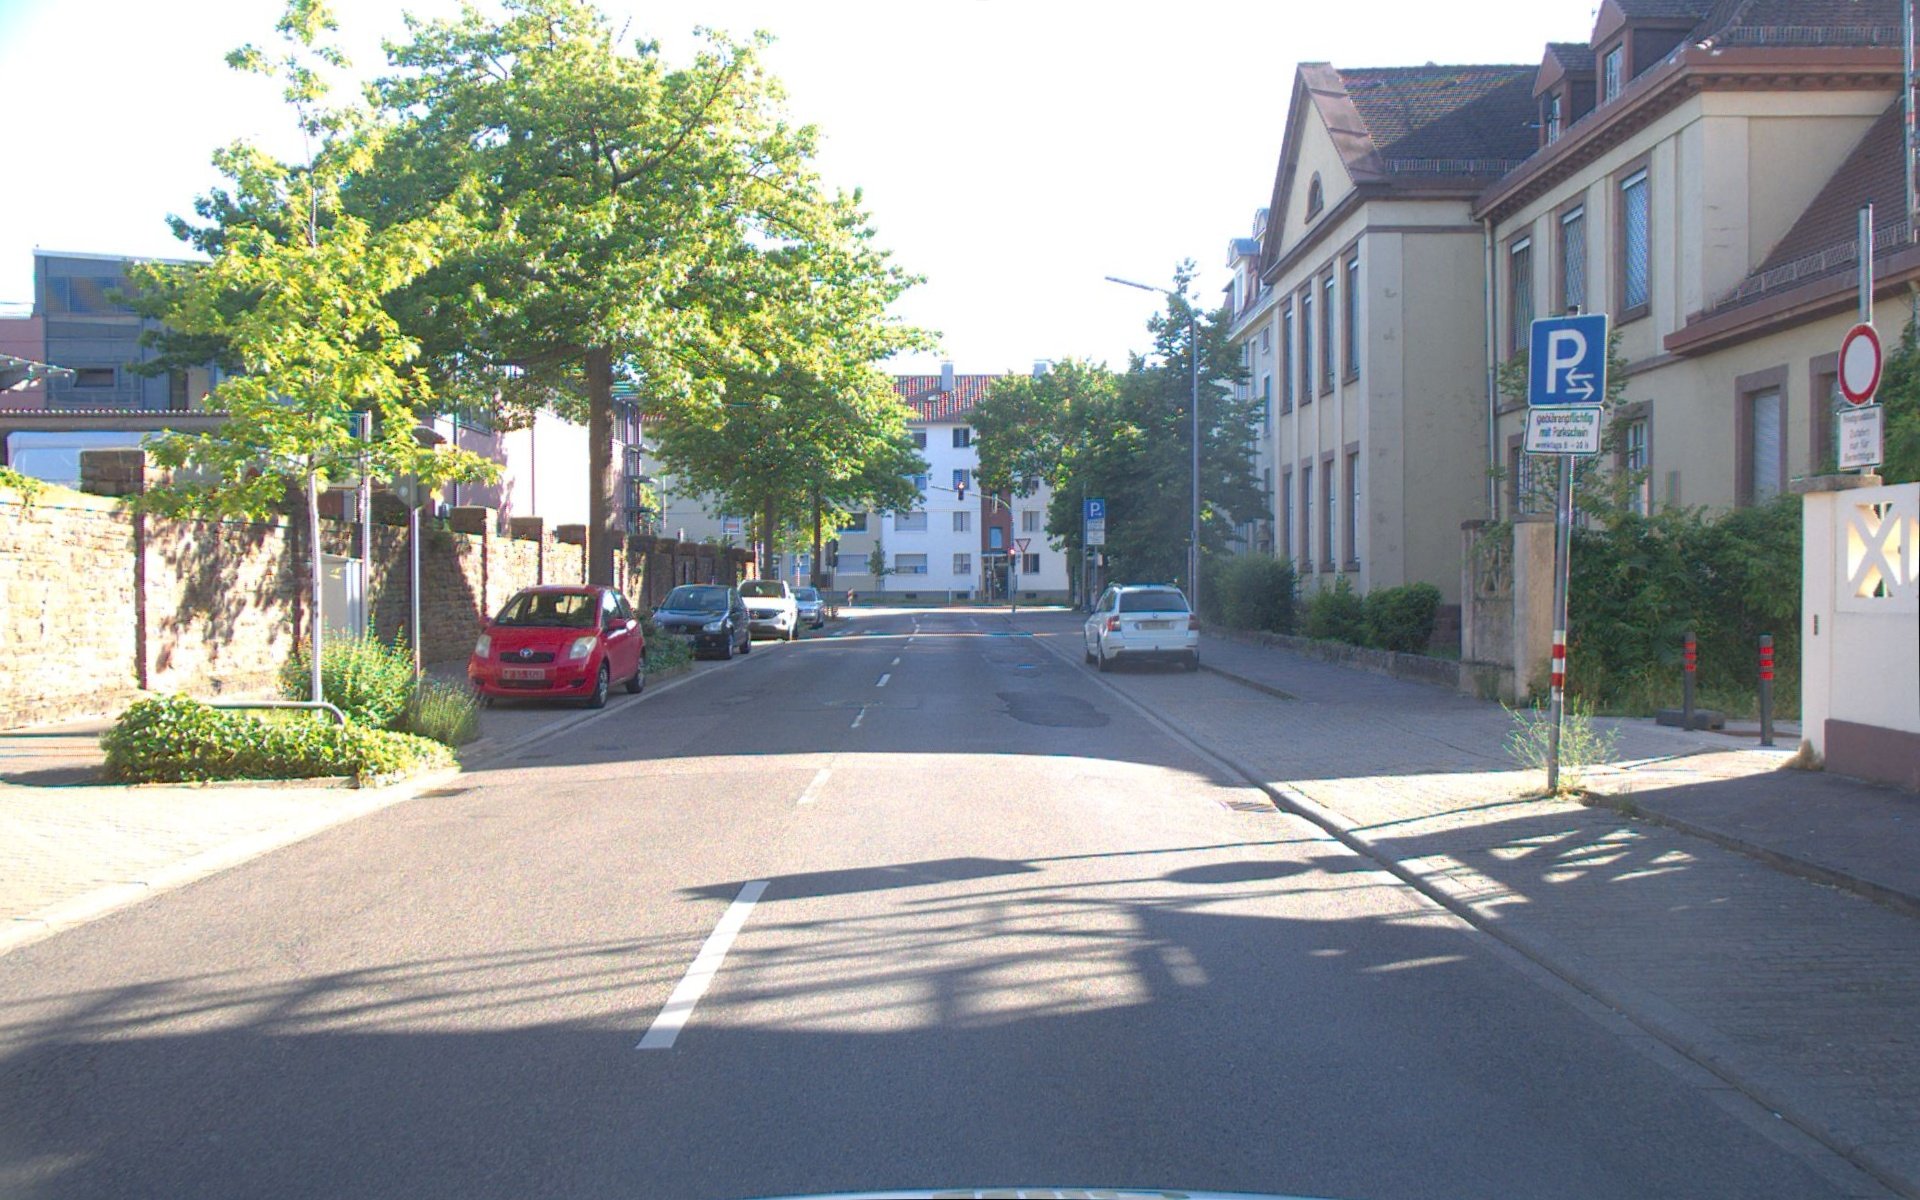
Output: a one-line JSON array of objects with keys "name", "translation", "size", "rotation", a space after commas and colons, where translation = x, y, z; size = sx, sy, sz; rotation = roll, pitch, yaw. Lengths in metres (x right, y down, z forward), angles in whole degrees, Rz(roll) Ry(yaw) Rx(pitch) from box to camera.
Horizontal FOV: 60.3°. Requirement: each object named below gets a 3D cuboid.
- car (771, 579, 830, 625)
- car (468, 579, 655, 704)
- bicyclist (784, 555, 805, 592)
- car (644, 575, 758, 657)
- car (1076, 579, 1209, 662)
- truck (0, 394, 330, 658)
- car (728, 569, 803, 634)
[{"name": "car", "translation": [-5.560, 0.033, 58.038], "size": [1.691, 1.501, 4.477], "rotation": [2, 1, -1]}, {"name": "car", "translation": [-5.212, 0.484, 22.060], "size": [1.576, 1.484, 3.708], "rotation": [2, 1, 0]}, {"name": "bicyclist", "translation": [-7.912, -1.267, 79.051], "size": [0.782, 1.788, 0.603], "rotation": [0, 1, -42]}, {"name": "car", "translation": [-5.418, 0.287, 35.050], "size": [1.701, 1.620, 4.107], "rotation": [0, 1, 1]}, {"name": "car", "translation": [3.192, 0.316, 29.690], "size": [1.795, 1.346, 4.495], "rotation": [-1, 1, -1]}, {"name": "truck", "translation": [-13.283, -1.126, 27.638], "size": [2.677, 3.776, 7.427], "rotation": [1, 1, -1]}, {"name": "car", "translation": [-5.356, 0.002, 45.955], "size": [1.685, 1.713, 4.349], "rotation": [0, 1, -2]}]
